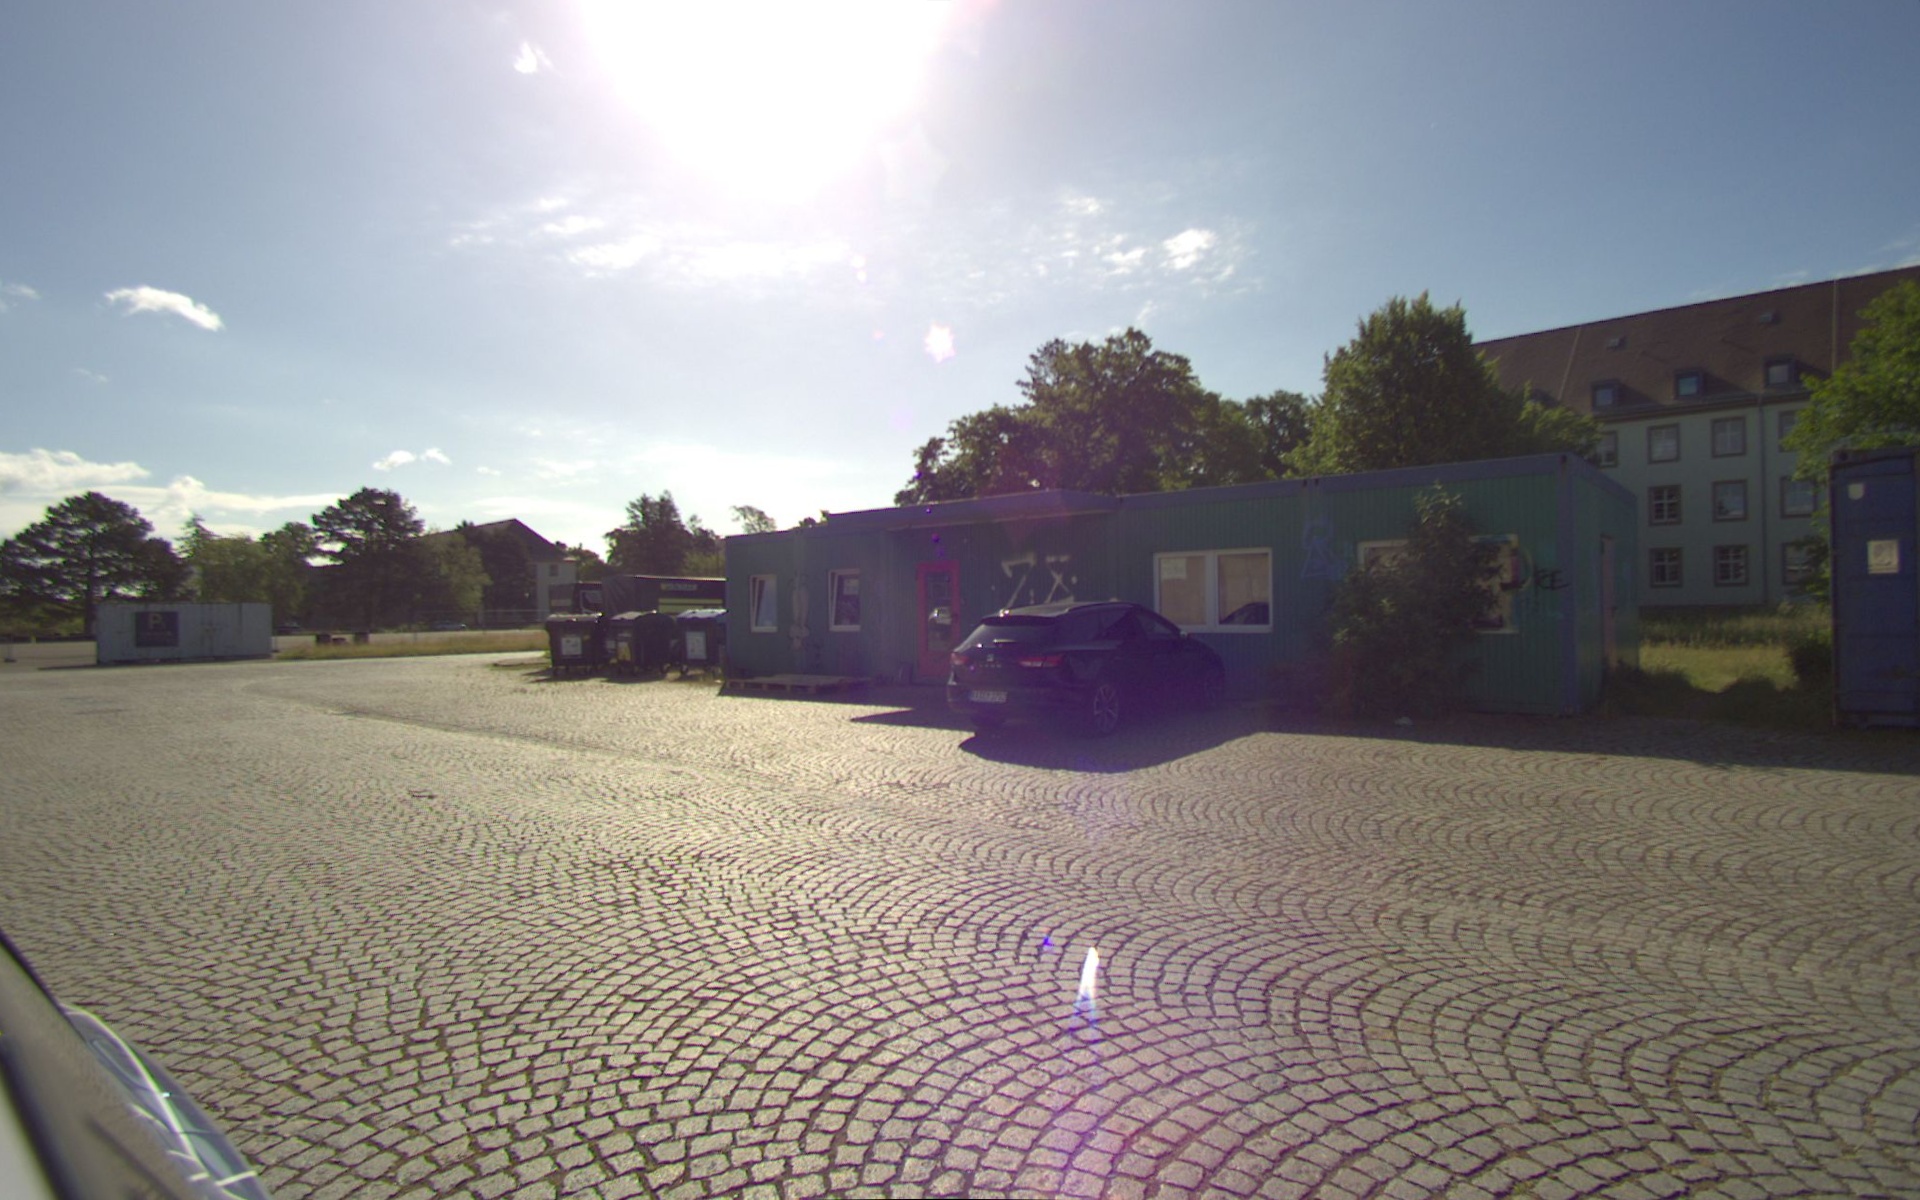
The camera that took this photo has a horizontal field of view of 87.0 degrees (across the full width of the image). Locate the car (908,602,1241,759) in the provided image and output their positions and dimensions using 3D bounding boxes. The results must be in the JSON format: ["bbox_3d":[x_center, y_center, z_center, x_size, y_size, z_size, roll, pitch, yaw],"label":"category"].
[{"bbox_3d":[1.527,0.801,12.089,1.930,1.460,4.208,-1,0,41],"label":"car"}]

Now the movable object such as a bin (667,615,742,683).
[{"bbox_3d":[-5.753,1.088,22.793,1.436,1.469,0.875,-1,0,32],"label":"movable object such as a bin"}]

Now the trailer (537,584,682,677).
[{"bbox_3d":[-10.041,0.823,29.076,2.045,2.488,3.347,-1,0,43],"label":"trailer"}]

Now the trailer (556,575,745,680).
[{"bbox_3d":[-8.269,0.661,27.387,1.949,2.587,4.591,-1,0,39],"label":"trailer"}]

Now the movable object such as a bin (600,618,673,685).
[{"bbox_3d":[-7.480,1.158,23.389,1.440,1.469,1.007,-1,0,42],"label":"movable object such as a bin"}]

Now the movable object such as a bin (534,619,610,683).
[{"bbox_3d":[-9.353,1.218,24.467,1.417,1.469,1.157,-1,0,-4],"label":"movable object such as a bin"}]
